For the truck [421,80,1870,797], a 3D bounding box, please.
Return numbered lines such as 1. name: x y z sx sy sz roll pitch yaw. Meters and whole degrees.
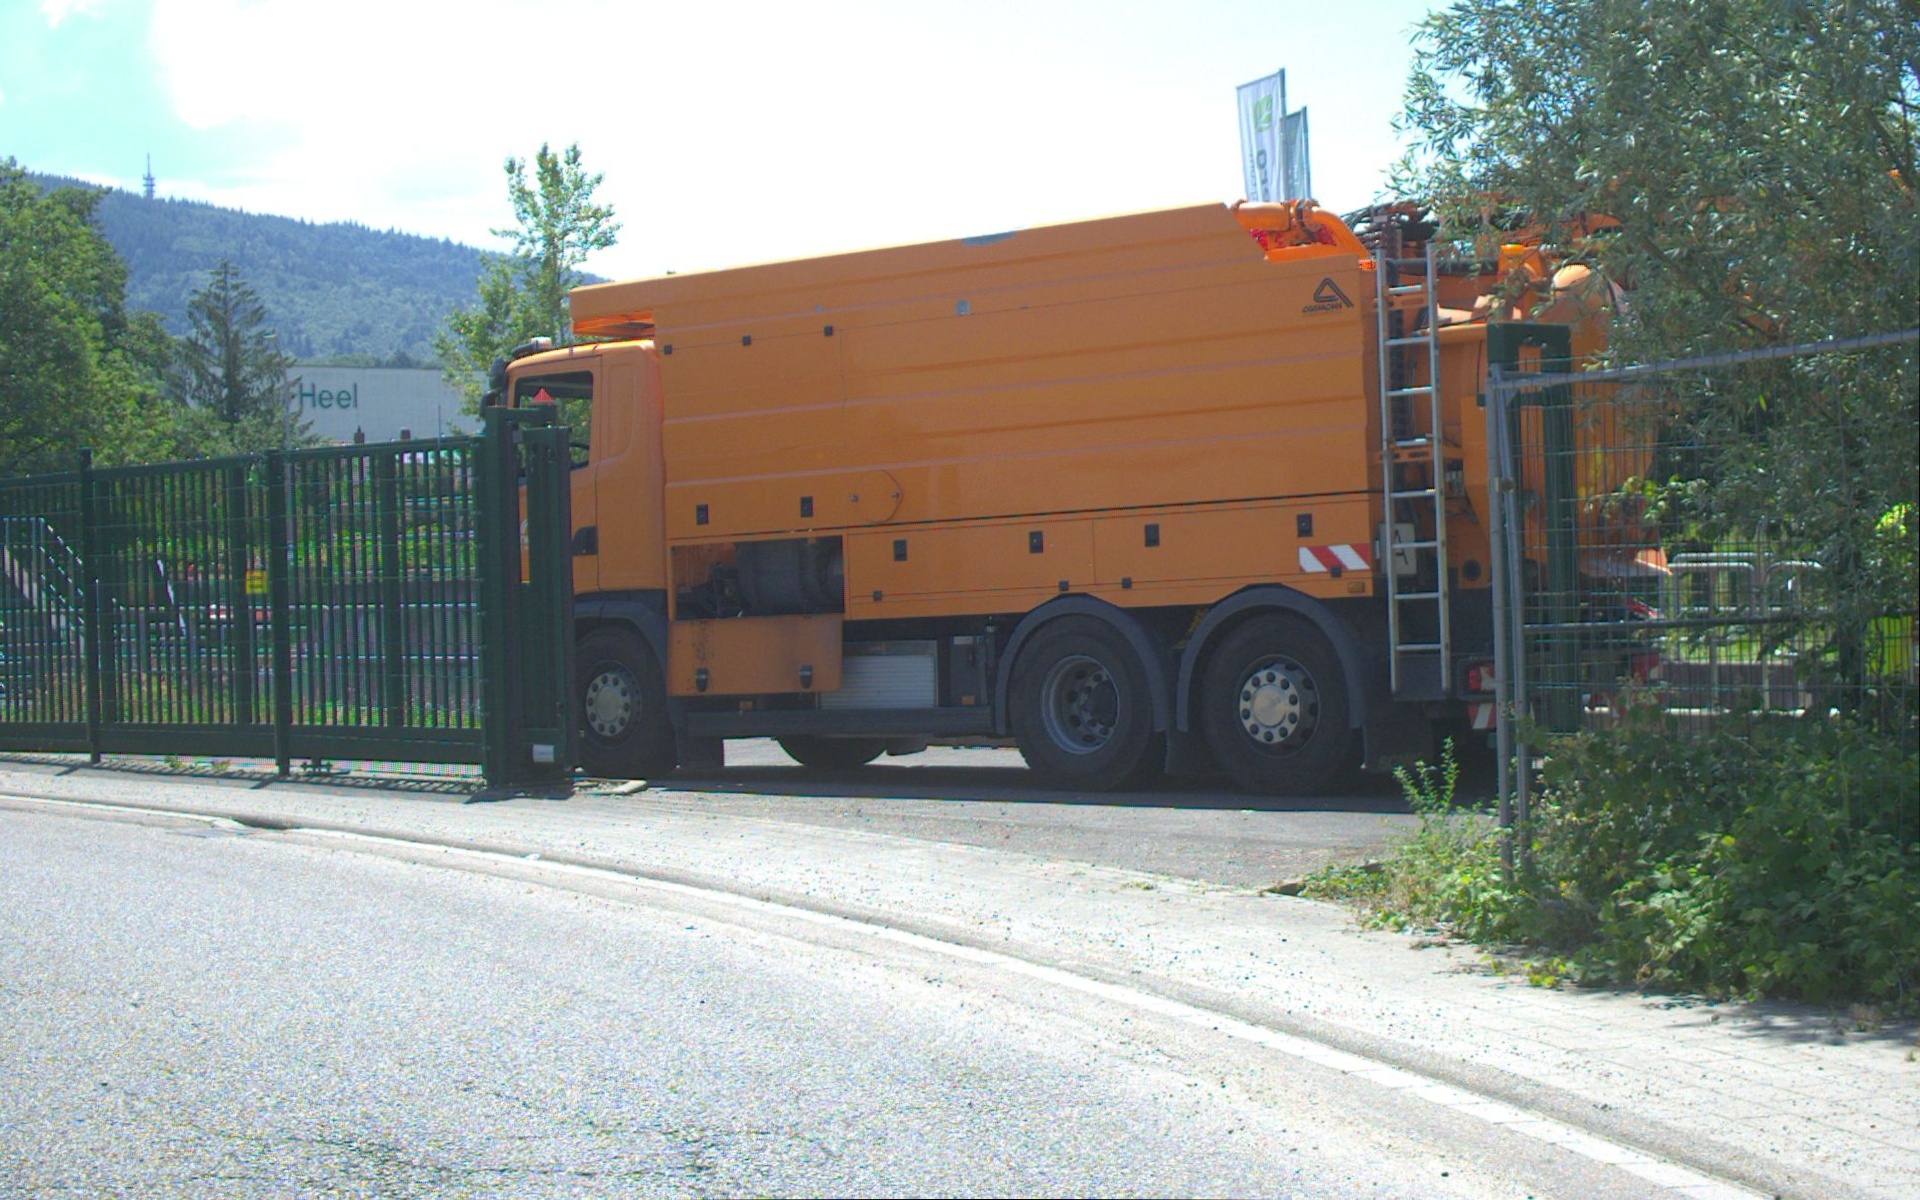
1. truck: 0.976 -0.853 22.534 8.603 3.793 4.155 -1 1 40
